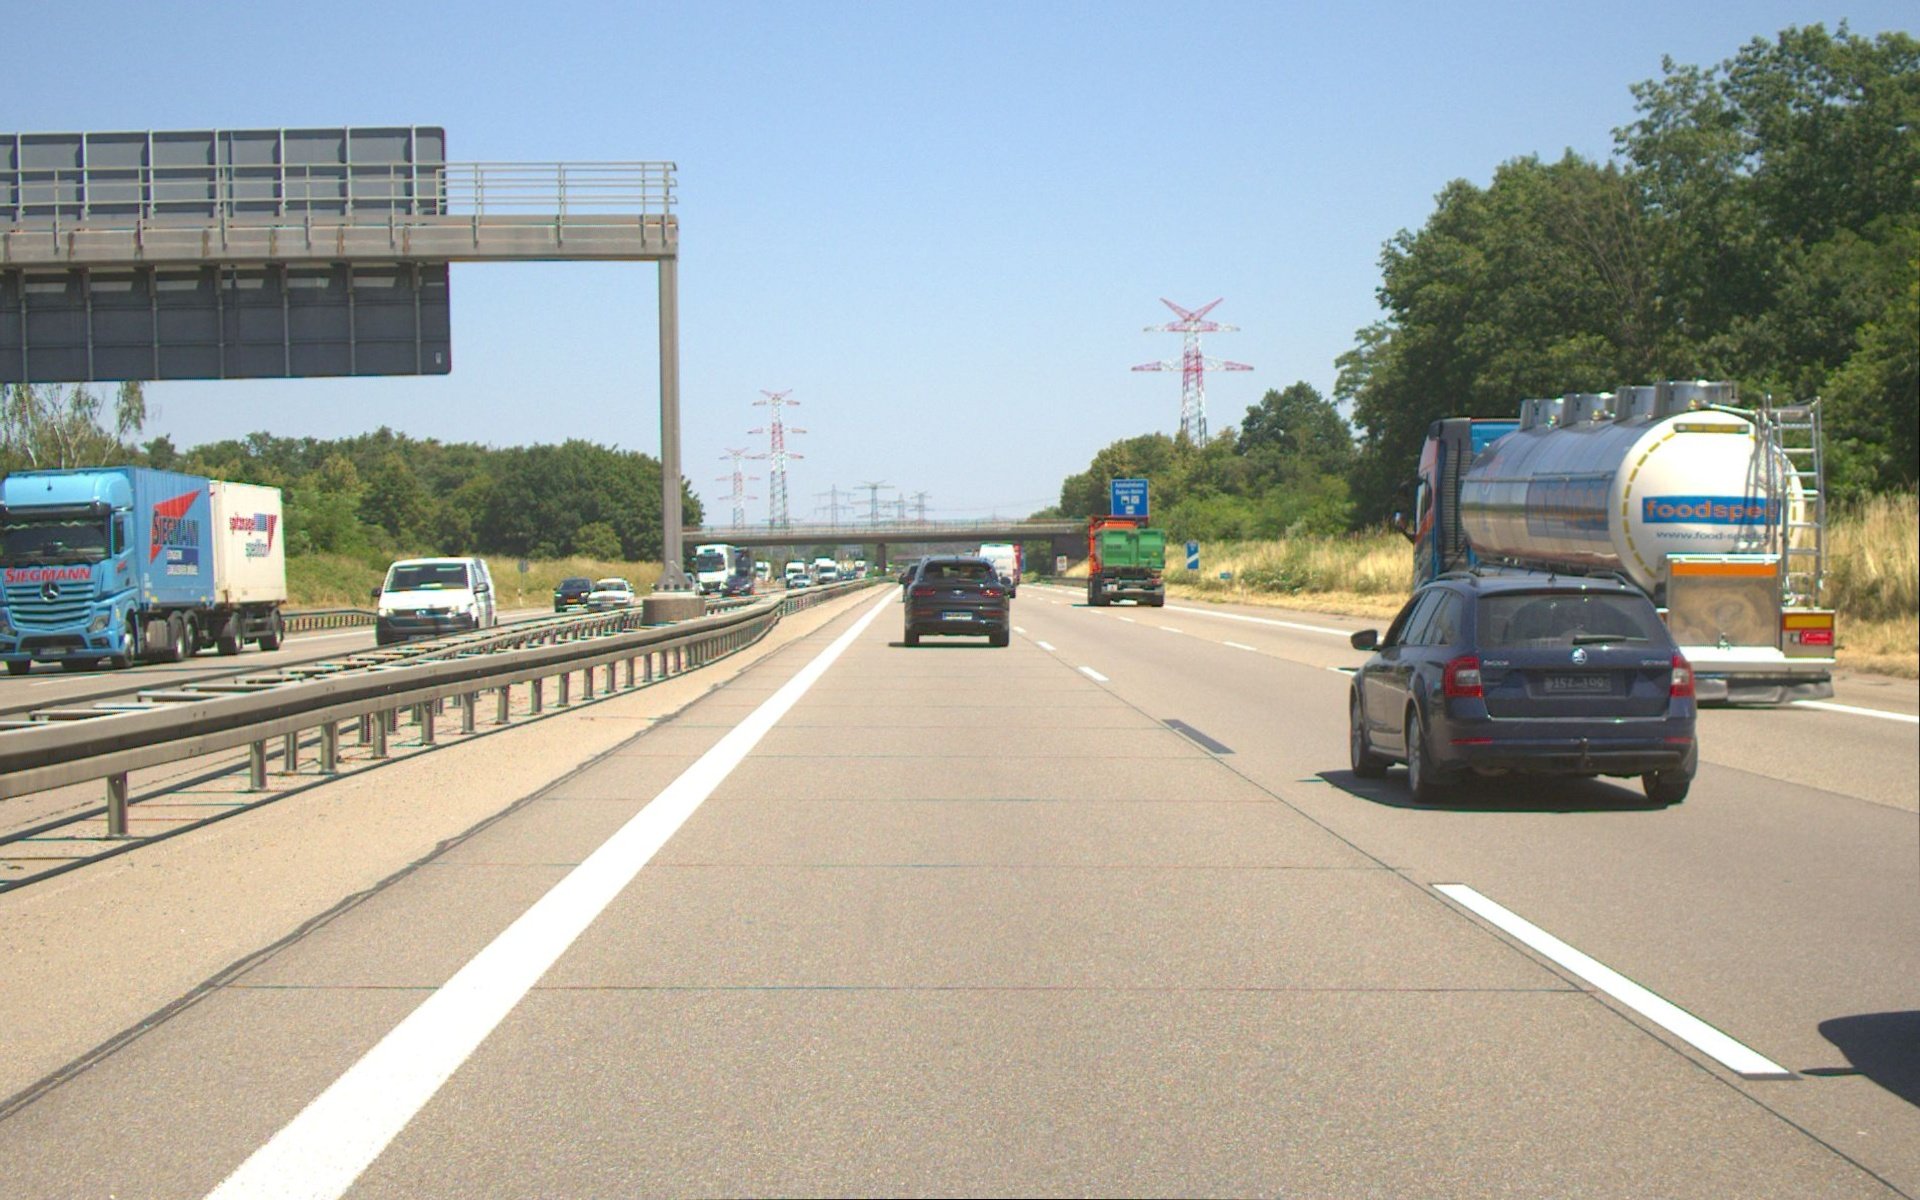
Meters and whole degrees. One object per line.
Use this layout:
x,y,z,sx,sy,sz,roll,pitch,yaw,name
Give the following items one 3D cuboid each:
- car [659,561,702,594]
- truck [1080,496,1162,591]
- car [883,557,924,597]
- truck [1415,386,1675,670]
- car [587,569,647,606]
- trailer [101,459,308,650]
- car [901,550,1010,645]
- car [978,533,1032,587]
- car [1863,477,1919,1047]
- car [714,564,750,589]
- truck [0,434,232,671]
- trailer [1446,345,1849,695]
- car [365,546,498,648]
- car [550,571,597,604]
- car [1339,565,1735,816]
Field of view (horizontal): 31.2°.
-15.027,-1.231,184.964,1.962,1.712,5.290,-2,1,-1,car
6.645,-2.320,143.487,2.681,3.785,12.479,1,1,0,truck
-2.520,-1.043,154.735,1.794,1.744,4.000,1,1,-1,car
8.131,-0.986,48.472,2.529,3.721,6.099,1,1,-1,truck
-13.953,-0.518,140.126,1.806,1.391,4.480,-2,1,2,car
-17.972,-1.089,82.362,3.058,4.268,8.636,-1,1,-1,trailer
-0.107,-0.065,65.893,1.993,1.744,4.000,1,1,-1,car
2.331,-2.073,179.148,2.621,2.750,6.096,1,1,0,car
4.012,0.545,9.095,1.866,1.811,4.941,1,1,-1,car
-14.445,-1.507,217.936,1.962,1.520,5.290,-2,1,-1,car
-17.895,-0.978,71.983,3.058,4.543,10.459,-1,1,-1,truck
8.197,-0.923,42.679,2.529,3.721,11.549,1,1,-1,trailer
-10.298,-0.091,67.302,1.831,1.848,5.237,-2,1,-1,car
-18.973,-0.629,168.920,1.831,1.548,4.950,-2,1,-1,car
3.704,0.523,22.800,1.801,1.478,4.272,1,1,-1,car
